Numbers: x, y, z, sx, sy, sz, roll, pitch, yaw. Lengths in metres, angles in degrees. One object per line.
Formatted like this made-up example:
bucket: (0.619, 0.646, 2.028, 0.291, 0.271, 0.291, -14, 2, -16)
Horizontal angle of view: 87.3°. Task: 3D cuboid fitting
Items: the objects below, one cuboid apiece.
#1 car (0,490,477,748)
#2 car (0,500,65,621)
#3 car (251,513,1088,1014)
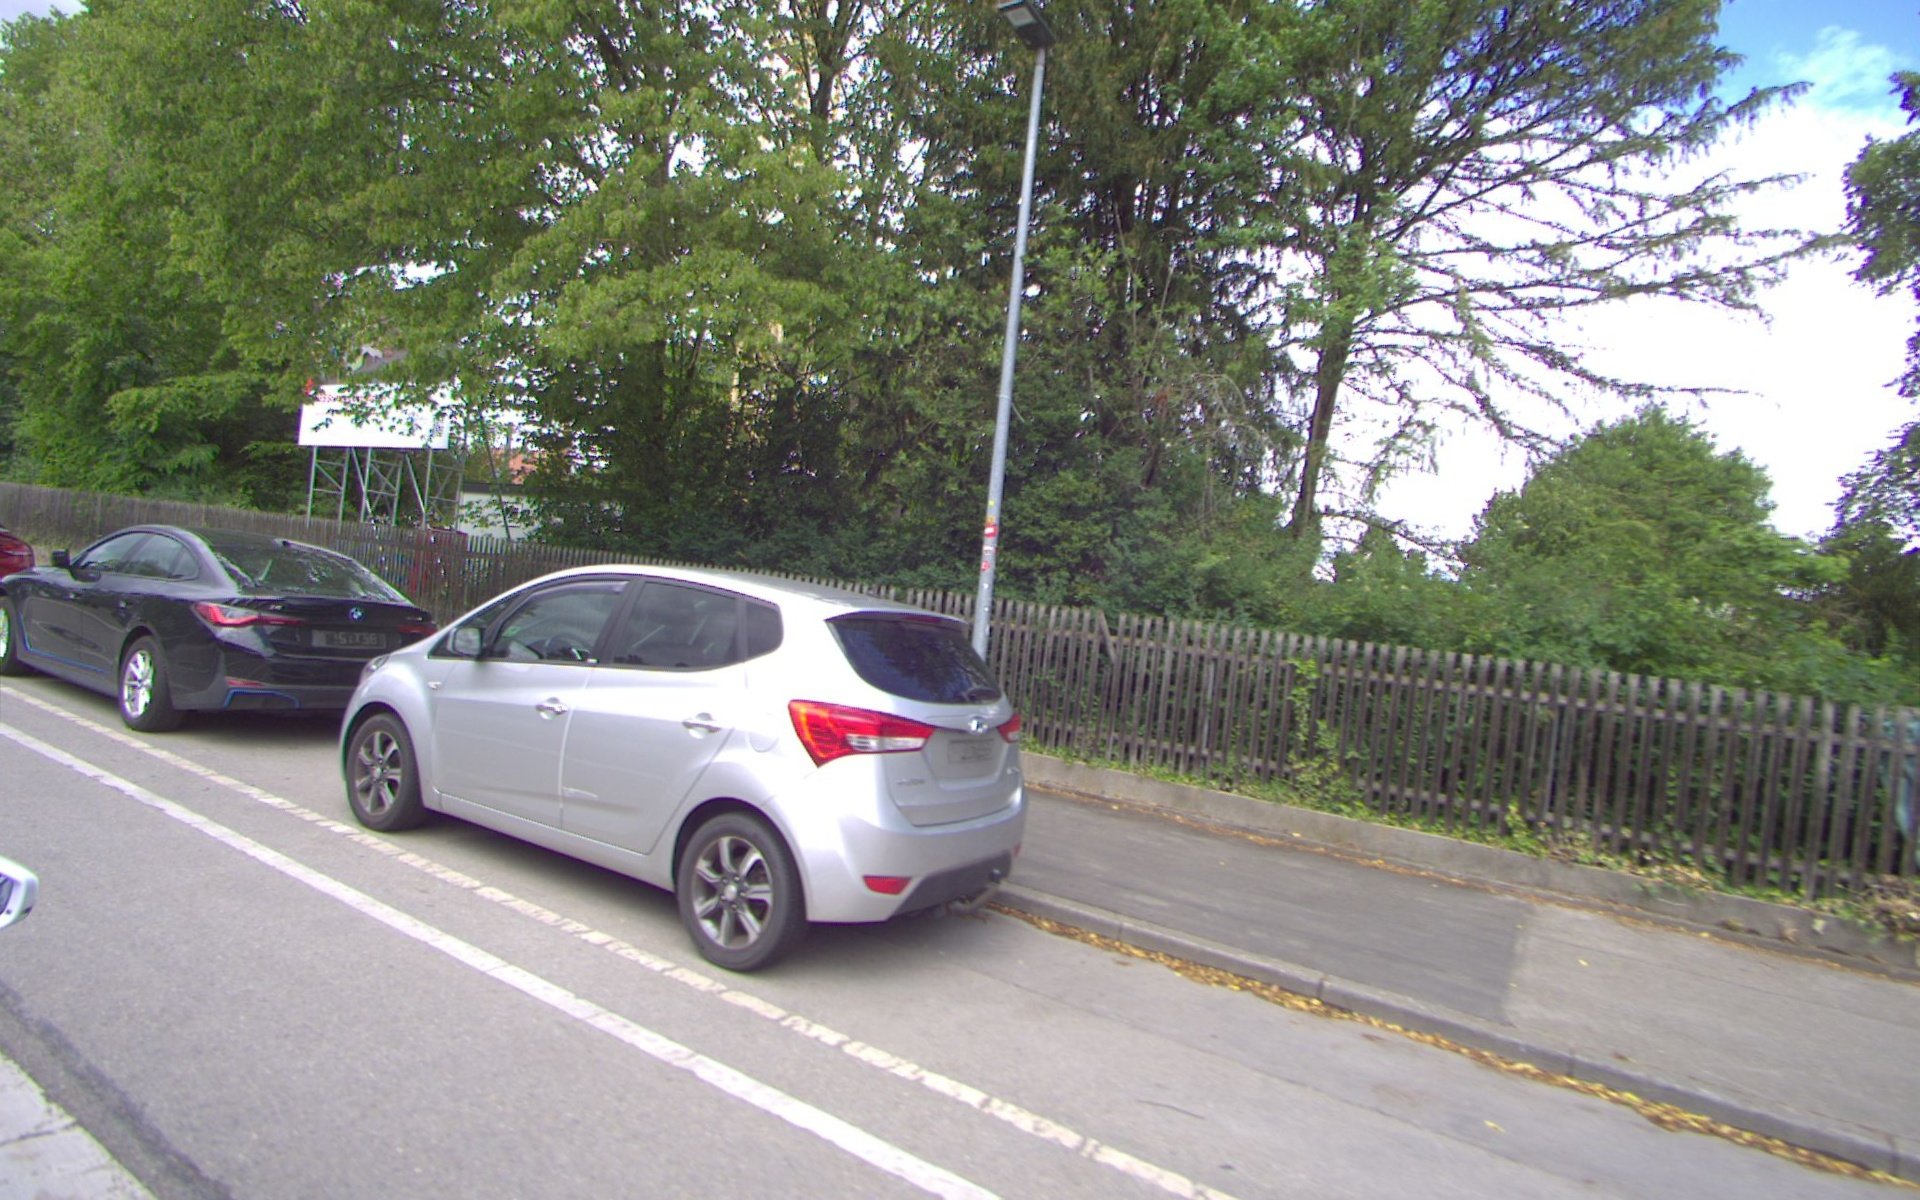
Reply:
car: (-6.377, 0.064, 8.473, 4.602, 1.533, 1.819, 6, -1, 31)
car: (-13.936, -0.776, 13.293, 4.369, 1.430, 1.863, 8, -1, 31)
car: (-1.734, 0.582, 5.610, 4.346, 1.609, 1.866, 7, 0, 30)
